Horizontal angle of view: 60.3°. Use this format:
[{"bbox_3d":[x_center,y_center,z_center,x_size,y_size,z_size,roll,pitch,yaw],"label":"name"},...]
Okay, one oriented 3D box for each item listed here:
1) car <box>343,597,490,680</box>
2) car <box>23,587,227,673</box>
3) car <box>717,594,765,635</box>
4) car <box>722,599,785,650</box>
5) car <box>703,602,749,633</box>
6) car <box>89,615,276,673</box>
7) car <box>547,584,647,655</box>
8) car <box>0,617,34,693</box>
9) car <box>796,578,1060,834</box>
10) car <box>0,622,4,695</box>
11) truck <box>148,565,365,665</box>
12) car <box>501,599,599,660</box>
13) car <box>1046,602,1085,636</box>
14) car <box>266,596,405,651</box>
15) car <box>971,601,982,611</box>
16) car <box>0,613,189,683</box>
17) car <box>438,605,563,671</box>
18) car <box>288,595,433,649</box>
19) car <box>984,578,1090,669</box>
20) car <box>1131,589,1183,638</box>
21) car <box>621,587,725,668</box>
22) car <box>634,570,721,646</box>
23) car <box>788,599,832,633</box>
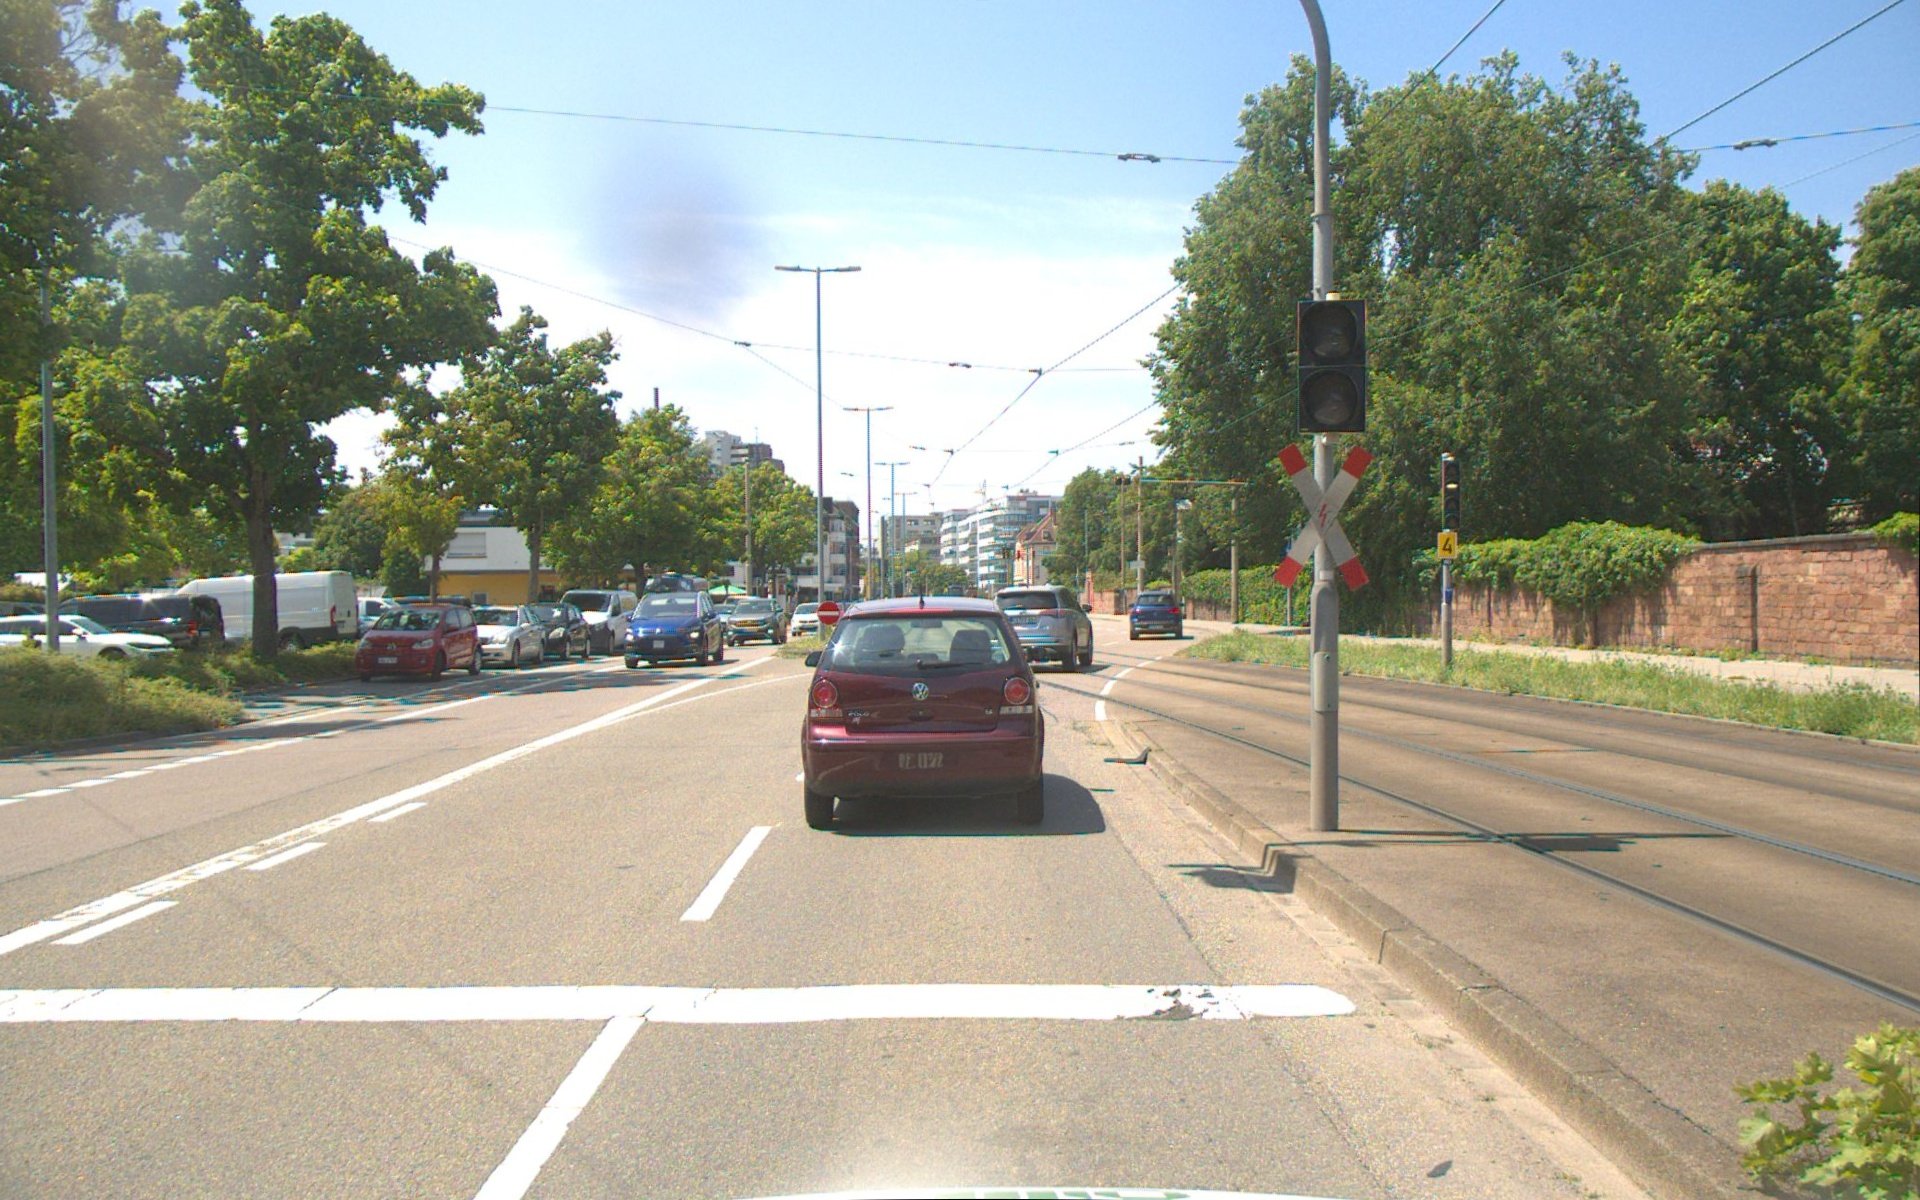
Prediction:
[{"bbox_3d":[-10.856,0.746,33.269,1.637,1.573,3.727,0,0,1],"label":"car"},{"bbox_3d":[-20.962,0.727,41.648,4.125,2.030,1.856,-1,0,-3],"label":"car"},{"bbox_3d":[-11.418,0.756,86.629,1.837,1.999,5.163,3,0,-1],"label":"car"},{"bbox_3d":[-6.996,0.810,56.322,1.702,1.603,3.712,-2,0,-1],"label":"car"},{"bbox_3d":[-11.305,0.830,80.113,1.598,1.444,3.867,1,0,1],"label":"car"},{"bbox_3d":[-20.913,1.169,44.591,4.125,1.436,1.856,-1,0,-3],"label":"car"},{"bbox_3d":[-10.987,0.573,50.451,1.824,1.971,4.806,3,0,1],"label":"car"},{"bbox_3d":[-21.646,1.168,34.066,4.037,1.535,1.932,-1,0,1],"label":"car"},{"bbox_3d":[-0.177,0.658,12.174,1.576,1.524,4.000,-2,0,0],"label":"car"},{"bbox_3d":[-20.913,1.206,31.518,4.114,1.428,2.079,-1,0,-5],"label":"car"},{"bbox_3d":[-21.157,0.435,49.930,5.464,2.808,2.432,-1,0,0],"label":"truck"},{"bbox_3d":[-11.029,0.769,44.688,1.581,1.510,3.785,3,0,1],"label":"car"},{"bbox_3d":[5.518,0.975,87.211,1.758,1.712,3.999,0,0,-1],"label":"car"},{"bbox_3d":[-21.858,0.812,58.005,4.125,1.796,1.856,-1,0,-3],"label":"car"},{"bbox_3d":[2.087,0.717,208.598,1.326,1.274,2.971,0,0,-1],"label":"car"},{"bbox_3d":[-21.094,1.139,39.184,4.666,1.514,2.057,-1,0,-3],"label":"car"},{"bbox_3d":[-11.081,0.865,40.224,1.683,1.452,4.770,-1,0,0],"label":"car"},{"bbox_3d":[-21.957,0.786,60.725,4.624,1.845,1.796,-1,0,-3],"label":"car"},{"bbox_3d":[1.611,0.445,33.456,1.757,1.712,4.003,0,0,8],"label":"car"},{"bbox_3d":[6.901,0.445,58.020,1.736,1.659,4.003,0,0,7],"label":"car"},{"bbox_3d":[-6.473,0.591,37.697,1.702,1.685,4.065,-2,0,-1],"label":"car"},{"bbox_3d":[-10.949,0.293,64.554,2.350,2.703,6.171,3,0,-1],"label":"car"},{"bbox_3d":[-6.683,0.715,74.174,1.615,1.400,3.810,-3,0,-1],"label":"car"}]
